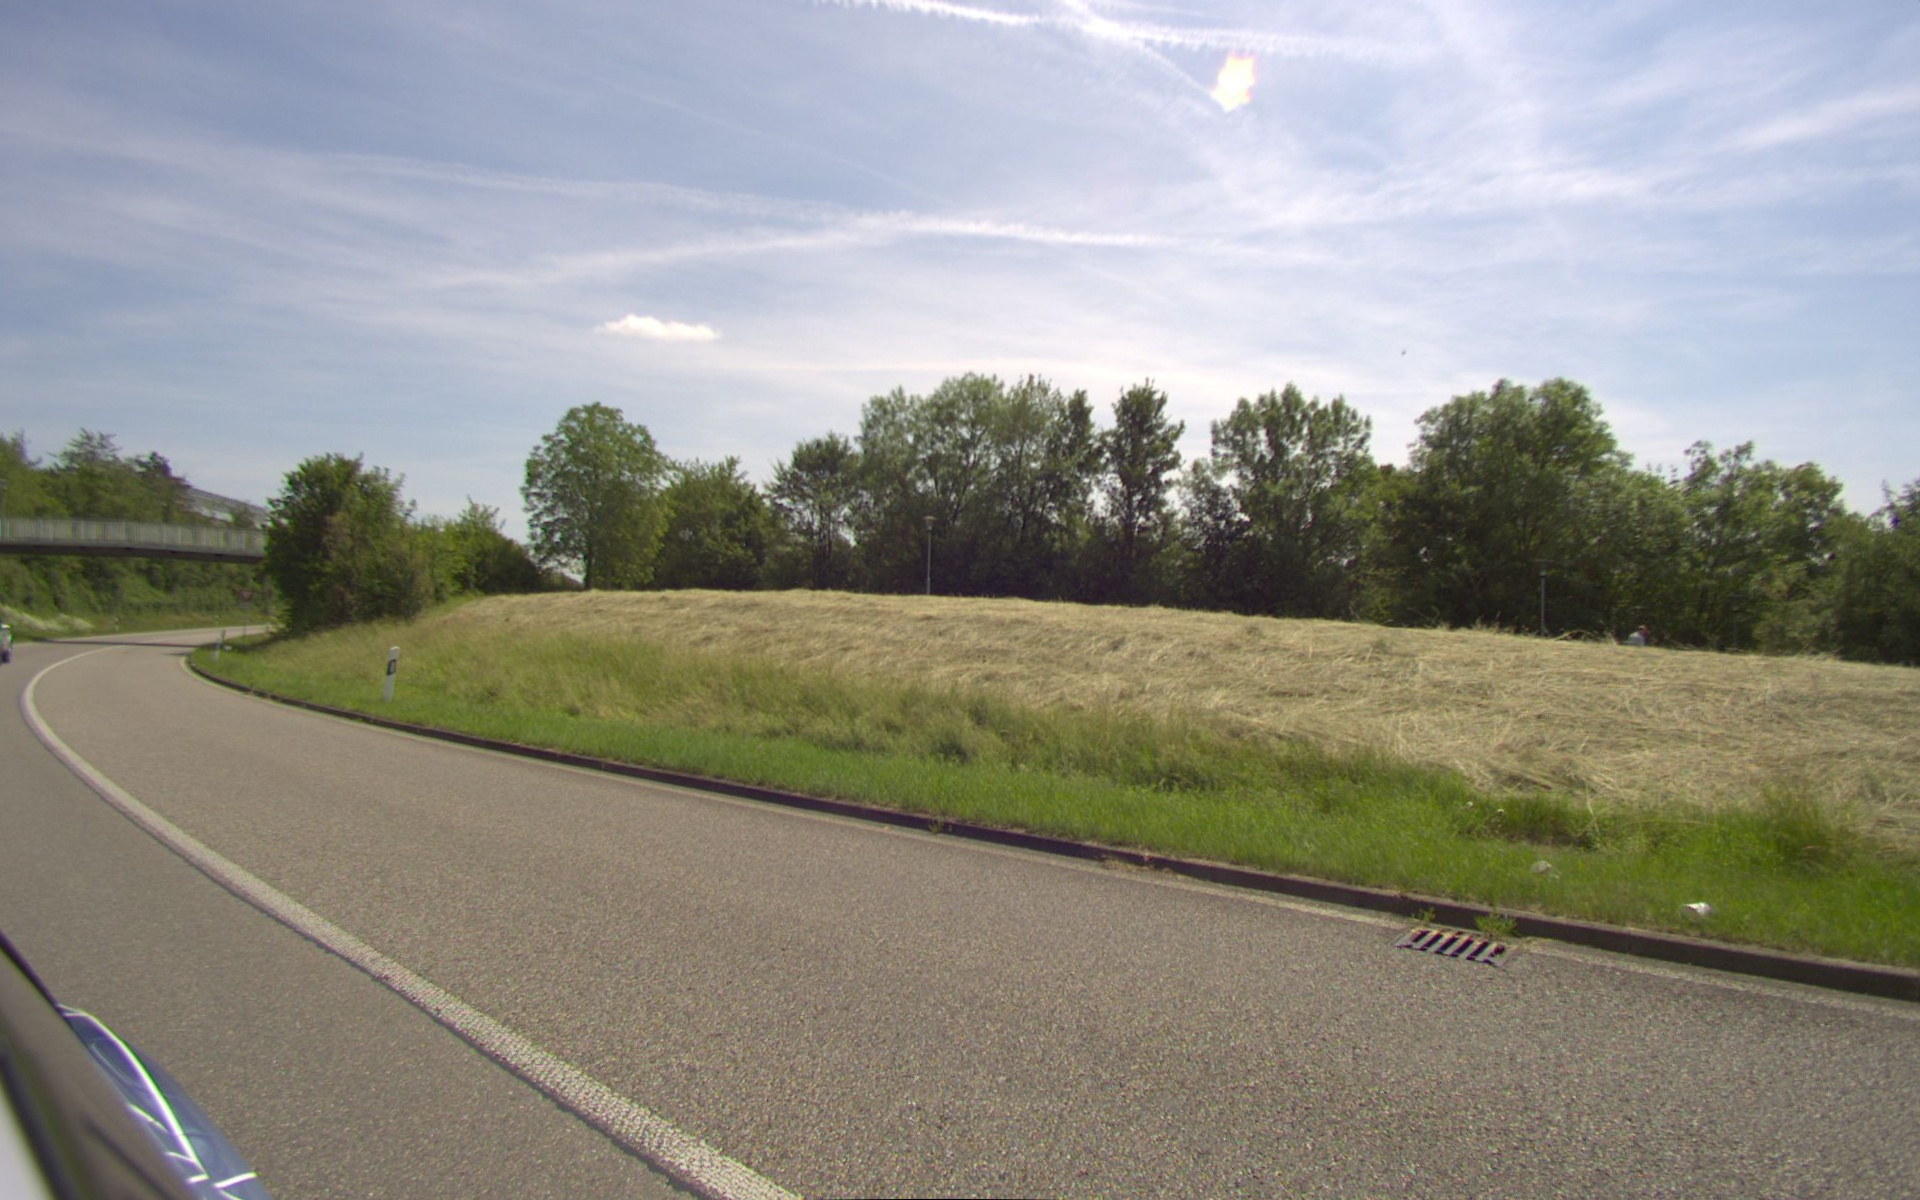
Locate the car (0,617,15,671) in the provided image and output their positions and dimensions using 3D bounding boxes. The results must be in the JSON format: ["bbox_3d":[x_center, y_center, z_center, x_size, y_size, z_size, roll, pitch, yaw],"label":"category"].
[{"bbox_3d":[-31.139,1.367,31.607,1.820,1.721,4.098,2,-3,-36],"label":"car"}]
